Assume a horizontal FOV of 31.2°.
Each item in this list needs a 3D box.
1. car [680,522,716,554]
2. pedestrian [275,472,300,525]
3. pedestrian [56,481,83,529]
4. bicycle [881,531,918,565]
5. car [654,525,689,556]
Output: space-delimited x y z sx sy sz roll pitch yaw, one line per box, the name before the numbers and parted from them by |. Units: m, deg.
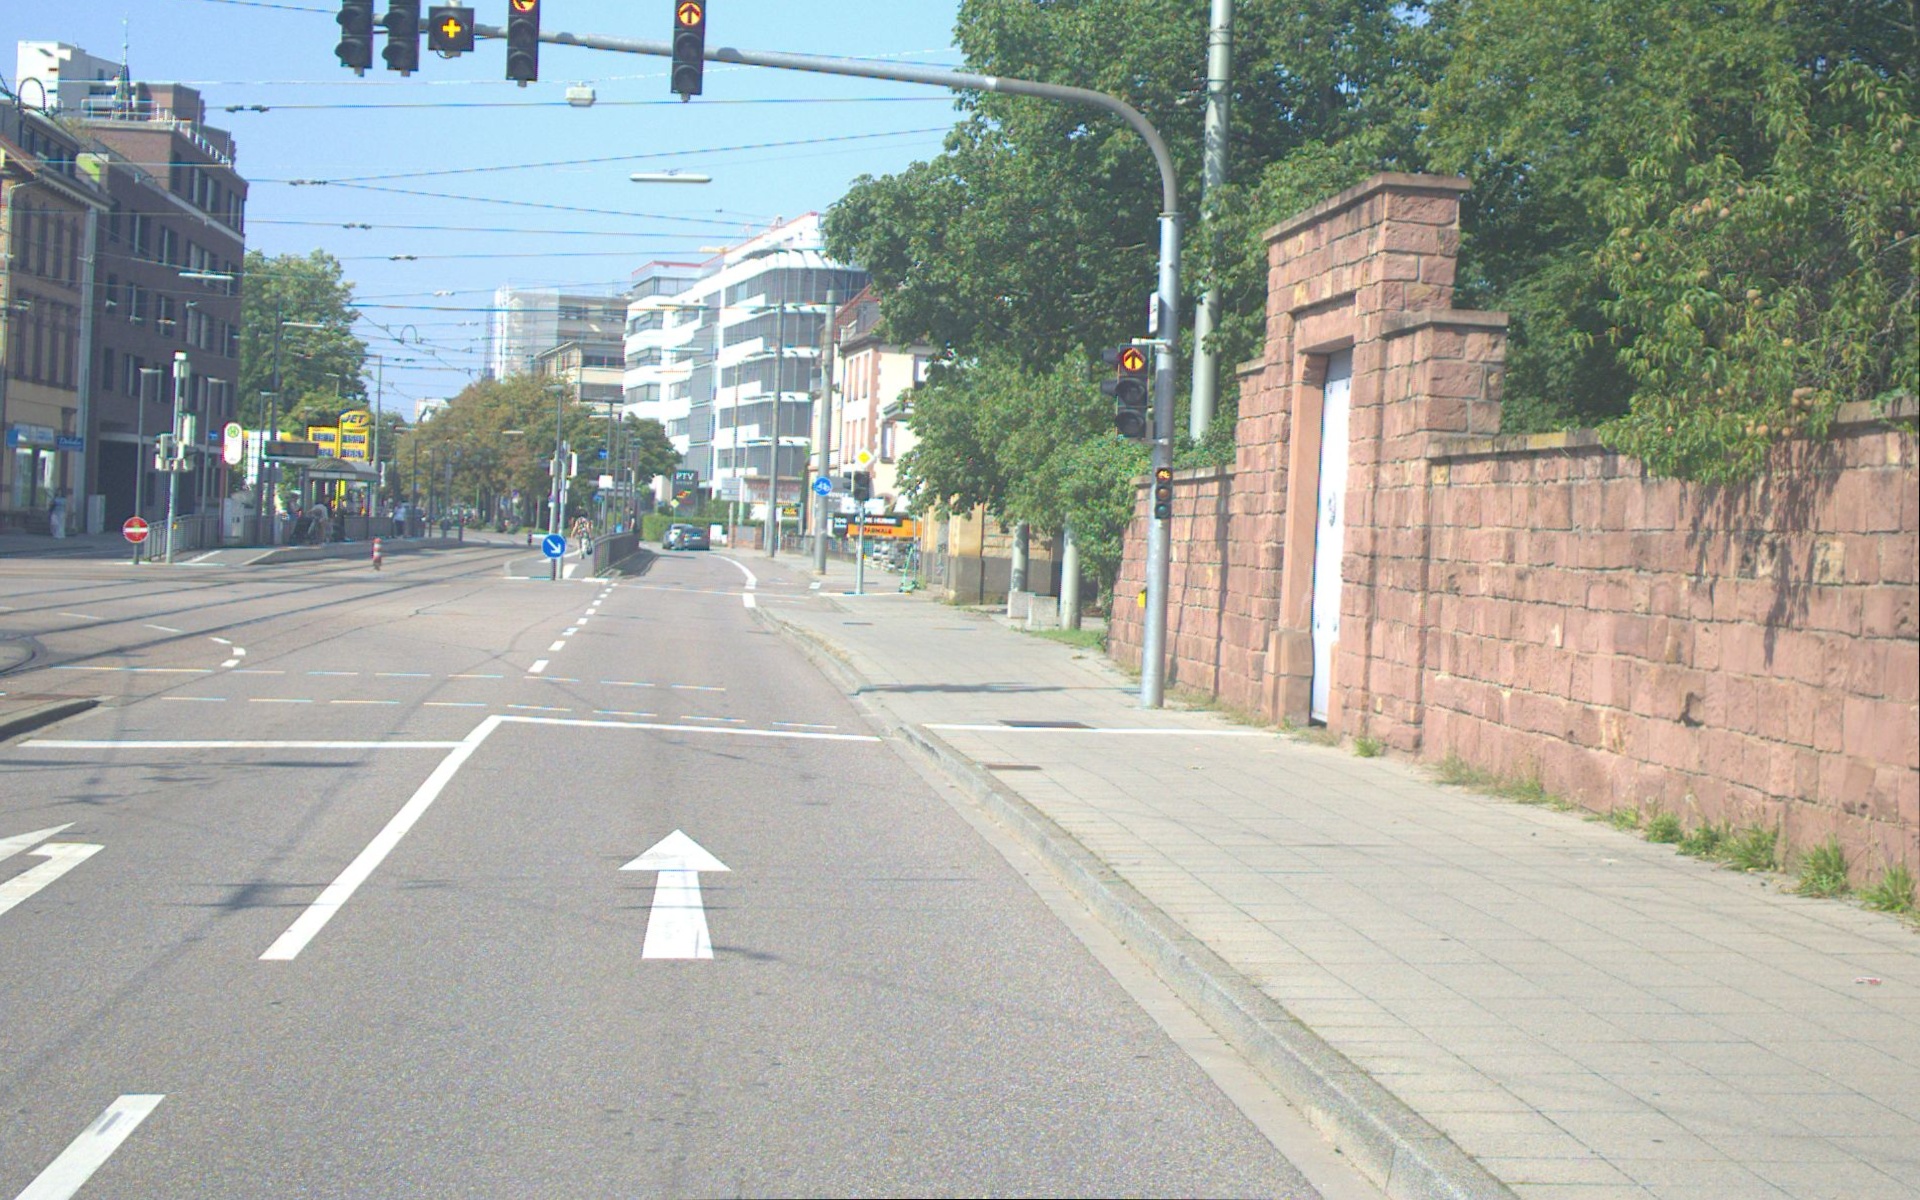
car | -15.685 -3.719 205.987 2.011 1.852 4.001 1 1 -3
pedestrian | -22.342 -3.372 114.216 0.708 1.717 0.799 1 1 -4
pedestrian | -30.047 -3.214 116.000 0.483 1.554 0.887 4 0 7
bicycle | -2.068 -1.776 117.322 0.731 1.129 2.841 -1 1 -11
car | -17.804 -3.686 211.972 2.011 1.852 4.001 1 1 -3
